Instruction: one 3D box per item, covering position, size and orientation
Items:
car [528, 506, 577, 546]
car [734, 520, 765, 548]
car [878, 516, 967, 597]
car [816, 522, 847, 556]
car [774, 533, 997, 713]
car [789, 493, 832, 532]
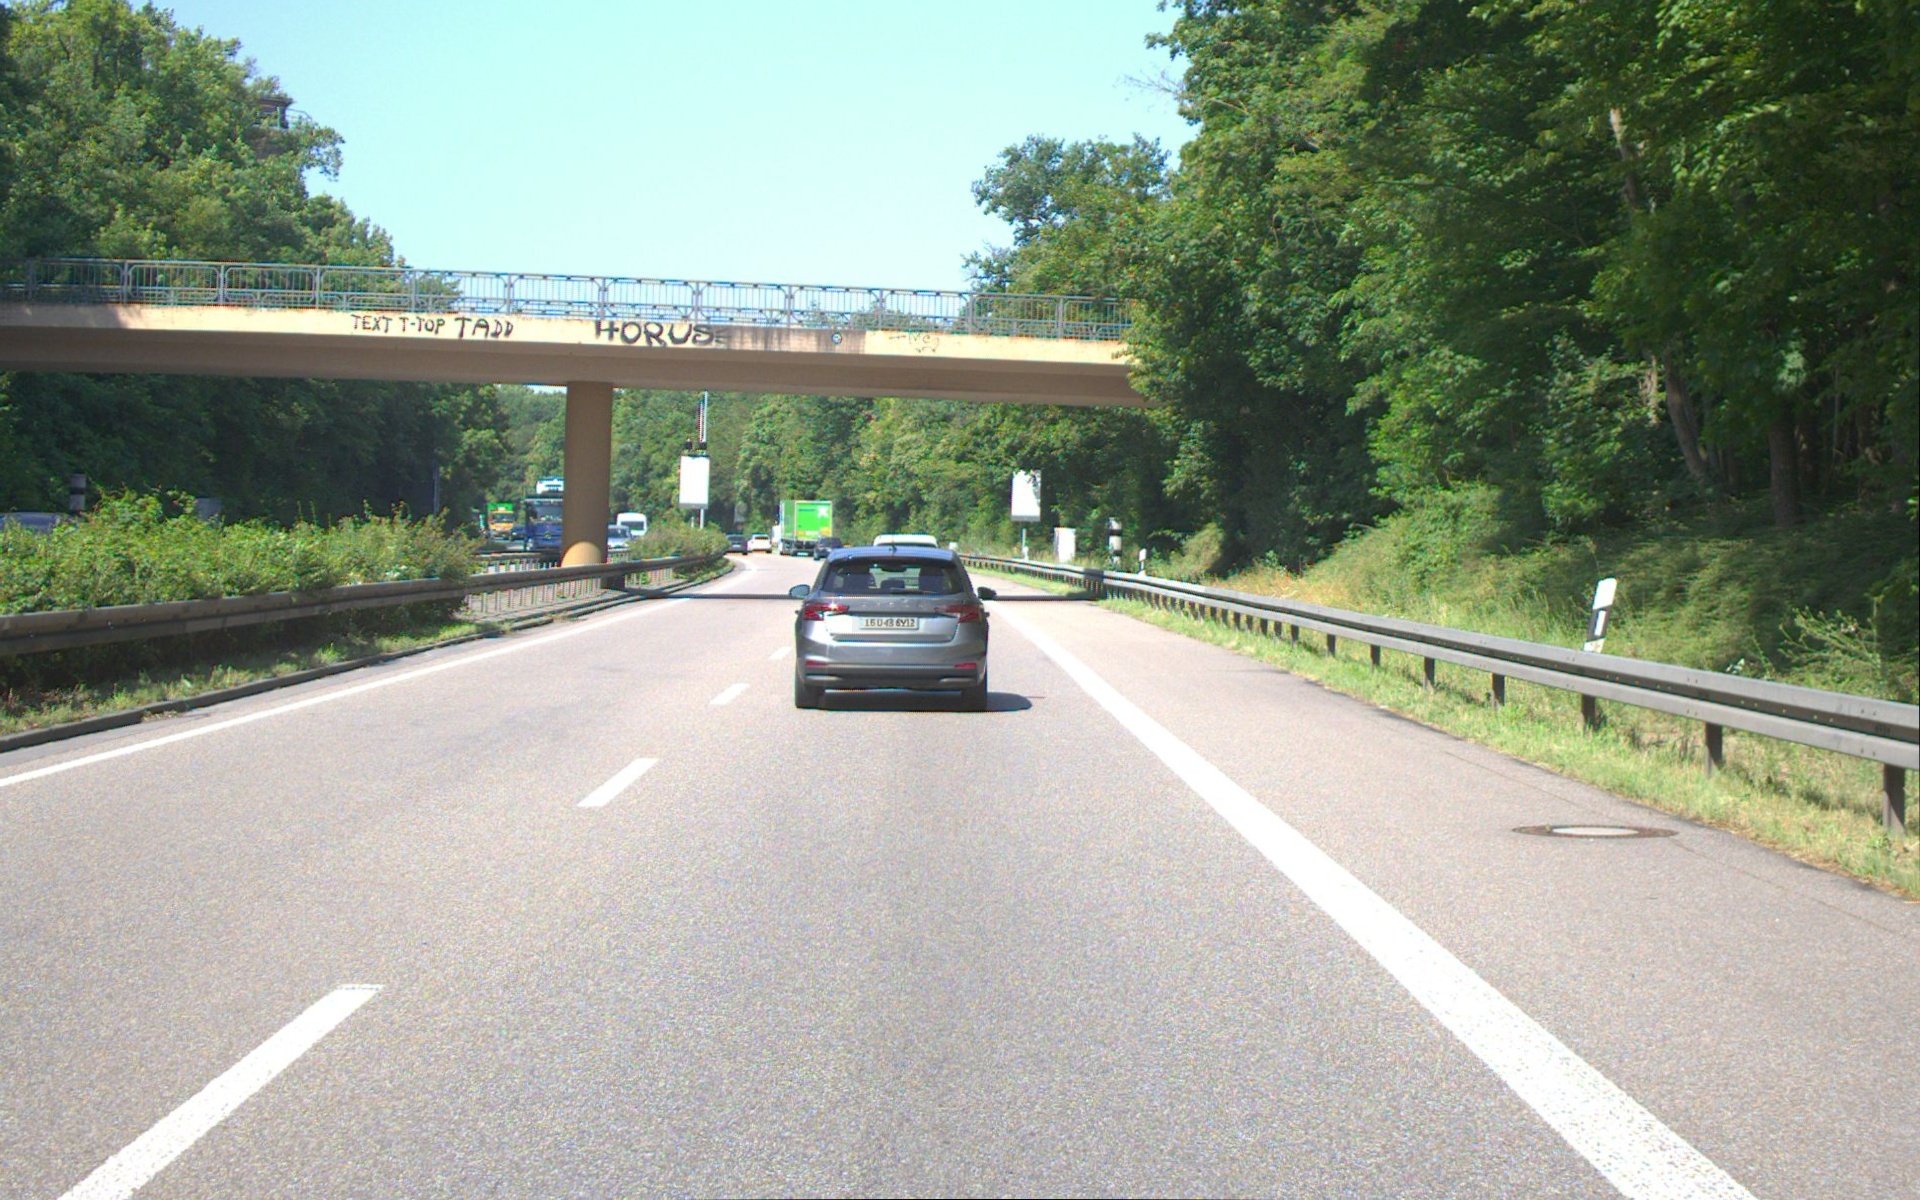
[{"bbox_3d":[-20.688,-3.754,174.586,1.993,2.007,4.000,1,1,0],"label":"car"},{"bbox_3d":[-15.105,-4.738,246.477,1.993,2.007,4.000,1,1,0],"label":"car"},{"bbox_3d":[-0.674,-0.825,63.825,1.522,1.441,3.340,1,2,1],"label":"car"},{"bbox_3d":[-7.787,-3.727,208.787,1.763,2.007,3.587,1,1,0],"label":"car"},{"bbox_3d":[-0.612,0.161,30.995,1.840,1.467,3.623,1,2,1],"label":"car"},{"bbox_3d":[-10.295,-6.027,237.104,2.748,2.645,4.000,1,1,0],"label":"car"}]
